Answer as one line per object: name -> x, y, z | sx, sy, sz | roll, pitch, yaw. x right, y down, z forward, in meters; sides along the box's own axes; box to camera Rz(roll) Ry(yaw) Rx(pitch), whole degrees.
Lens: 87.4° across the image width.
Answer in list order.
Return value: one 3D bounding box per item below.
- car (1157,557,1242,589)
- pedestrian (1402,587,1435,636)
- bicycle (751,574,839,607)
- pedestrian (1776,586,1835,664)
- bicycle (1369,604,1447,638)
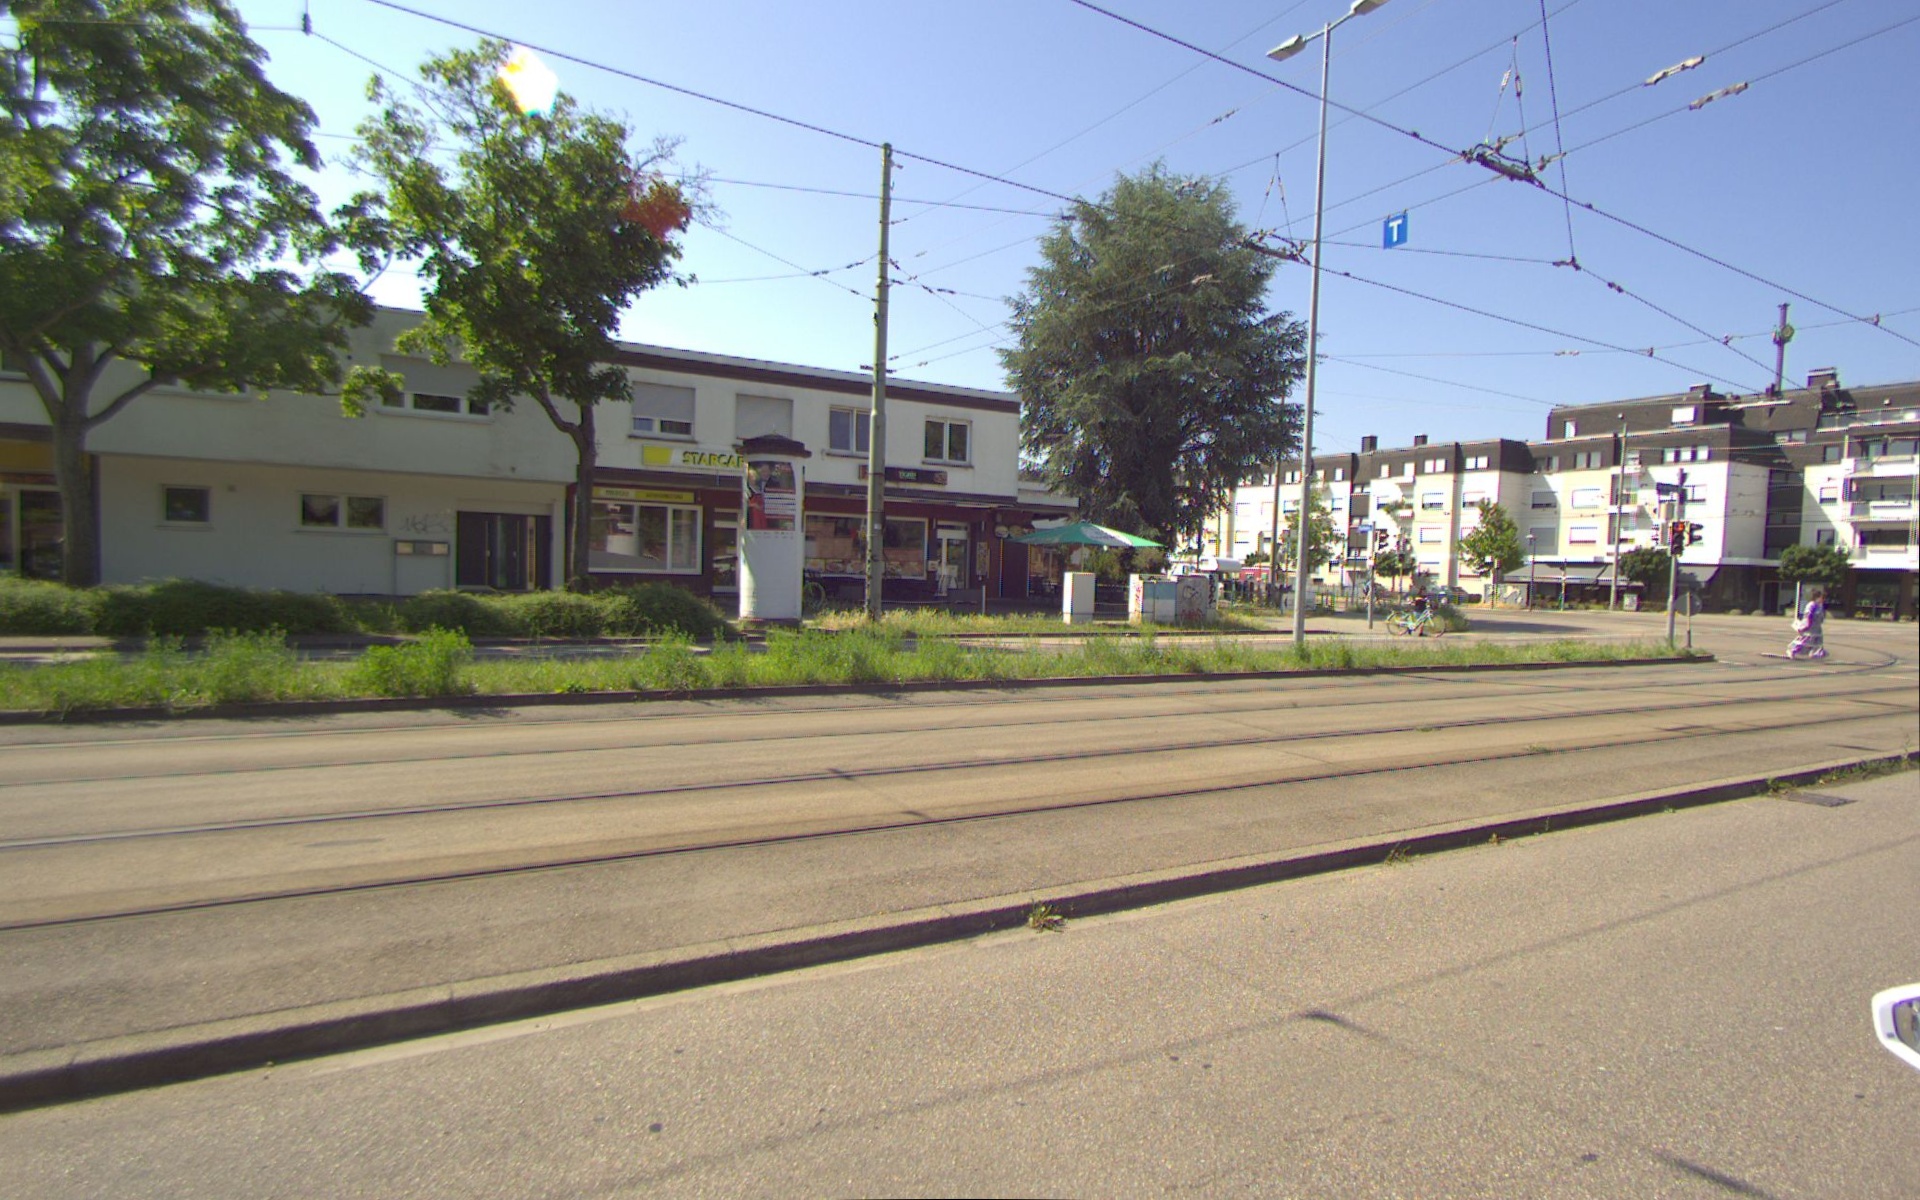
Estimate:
car -> 16.054, -1.844, 67.563 | 2.226, 2.041, 5.518 | 1, 2, -34
pedestrian -> 14.432, 0.360, 31.618 | 0.803, 1.507, 0.563 | 3, 2, 39
bicycle -> -4.724, -0.271, 28.795 | 2.362, 0.900, 0.779 | 1, 2, -30
pedestrian -> 19.914, 0.570, 23.662 | 0.923, 1.762, 0.820 | 0, 2, -38
bicycle -> 13.952, 0.644, 31.335 | 2.144, 0.934, 0.551 | 3, 2, 39
